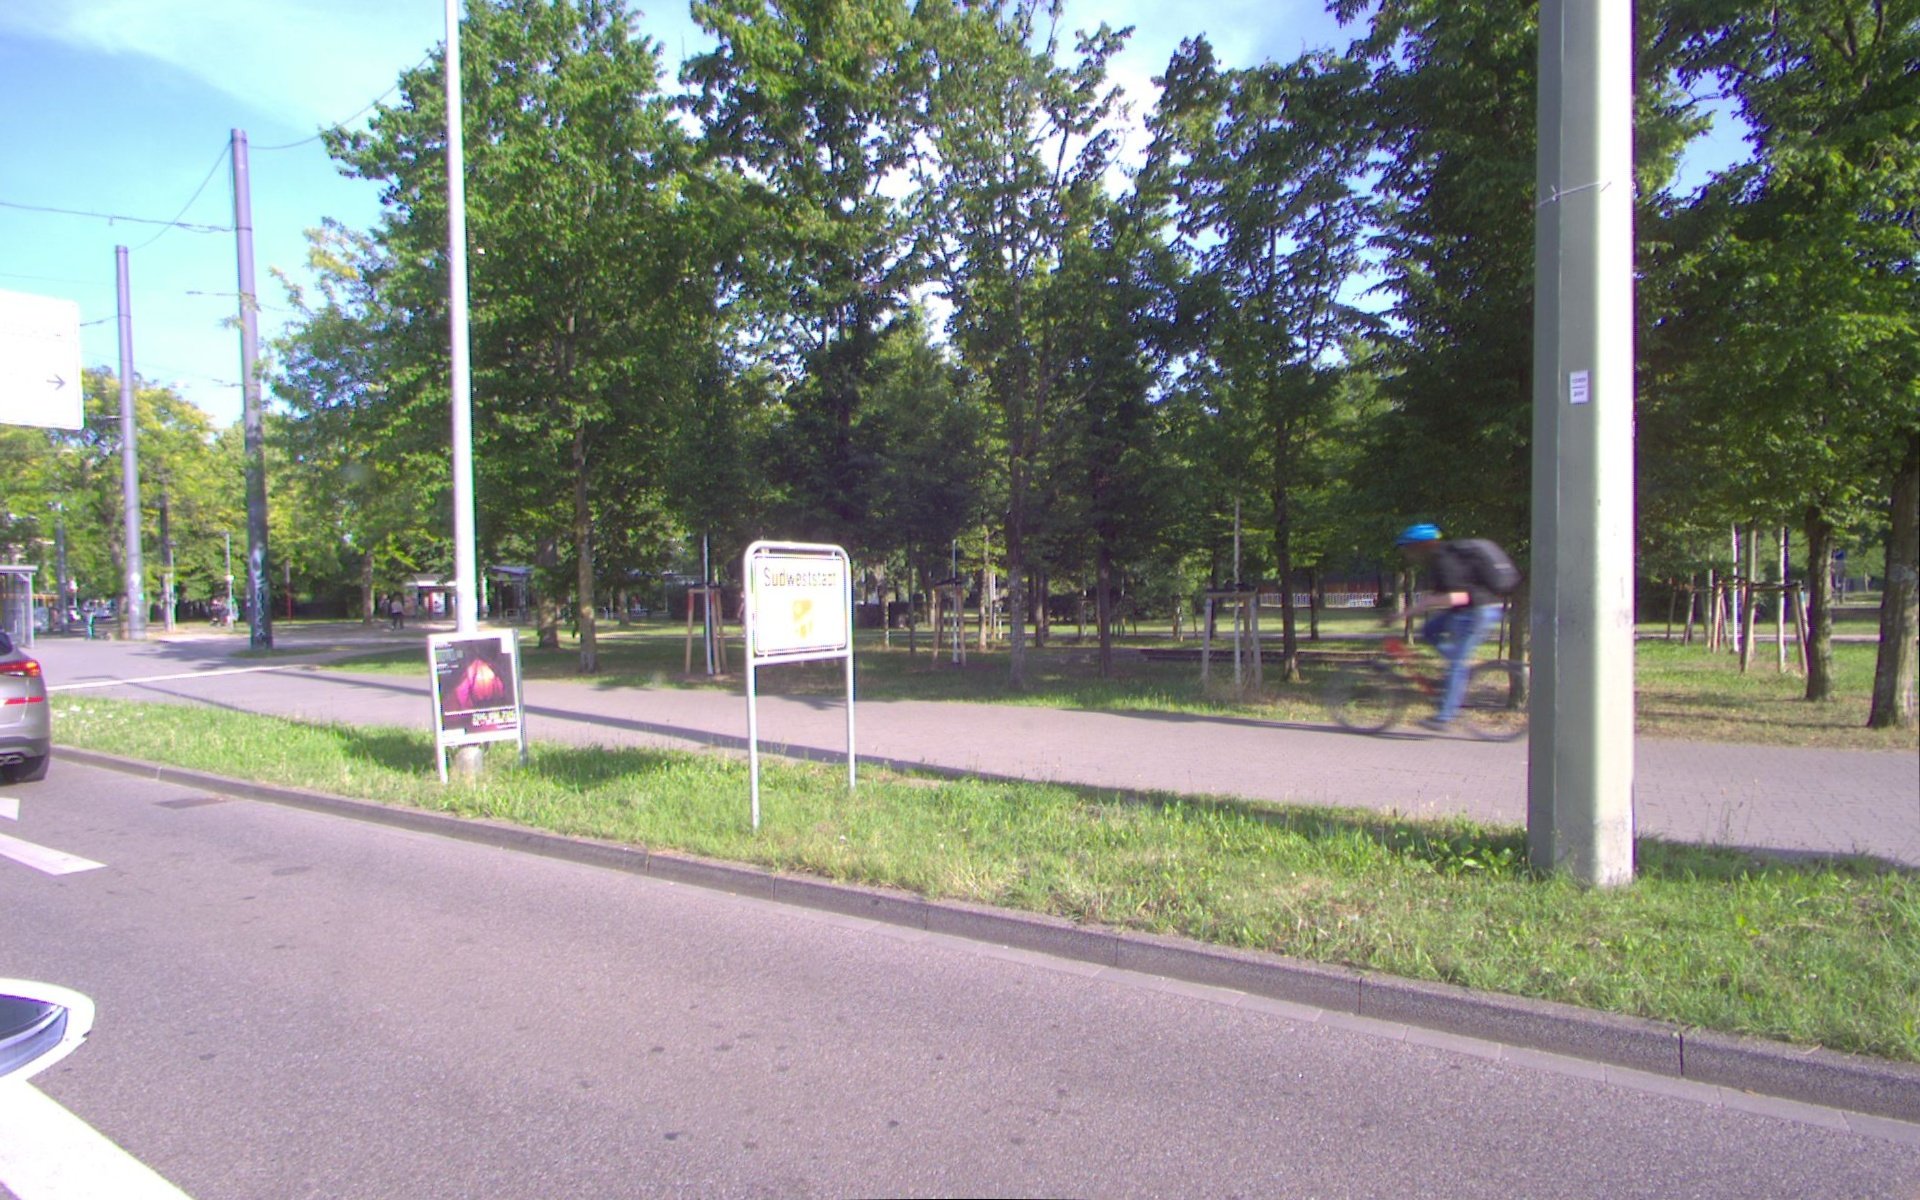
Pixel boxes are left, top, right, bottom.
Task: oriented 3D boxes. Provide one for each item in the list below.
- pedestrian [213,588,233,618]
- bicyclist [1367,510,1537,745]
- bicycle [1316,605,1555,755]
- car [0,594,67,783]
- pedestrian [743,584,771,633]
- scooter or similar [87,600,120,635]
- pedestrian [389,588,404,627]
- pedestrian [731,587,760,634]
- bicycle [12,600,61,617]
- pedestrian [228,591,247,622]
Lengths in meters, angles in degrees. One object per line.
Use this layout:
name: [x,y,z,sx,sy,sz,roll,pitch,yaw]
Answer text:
pedestrian: [-40.918,0.167,55.573,0.681,1.688,0.639,0,1,32]
bicyclist: [4.000,0.192,8.135,1.125,1.770,0.717,0,4,36]
bicycle: [3.935,0.617,8.343,1.711,1.103,0.638,0,3,36]
car: [-10.070,0.766,9.200,3.760,1.621,1.832,0,-1,32]
pedestrian: [-8.066,0.363,39.841,0.868,1.922,0.670,0,-1,33]
scooter or similar: [-31.440,0.635,36.749,1.115,1.248,0.351,0,1,18]
pedestrian: [-27.836,0.375,49.461,0.596,1.891,0.461,0,-1,-22]
pedestrian: [-8.358,0.419,39.023,0.867,1.800,0.670,0,-1,33]
bicycle: [-53.710,0.472,58.254,2.000,0.959,0.872,-1,1,-39]
pedestrian: [-39.805,0.349,55.171,0.681,1.688,0.639,0,1,32]
